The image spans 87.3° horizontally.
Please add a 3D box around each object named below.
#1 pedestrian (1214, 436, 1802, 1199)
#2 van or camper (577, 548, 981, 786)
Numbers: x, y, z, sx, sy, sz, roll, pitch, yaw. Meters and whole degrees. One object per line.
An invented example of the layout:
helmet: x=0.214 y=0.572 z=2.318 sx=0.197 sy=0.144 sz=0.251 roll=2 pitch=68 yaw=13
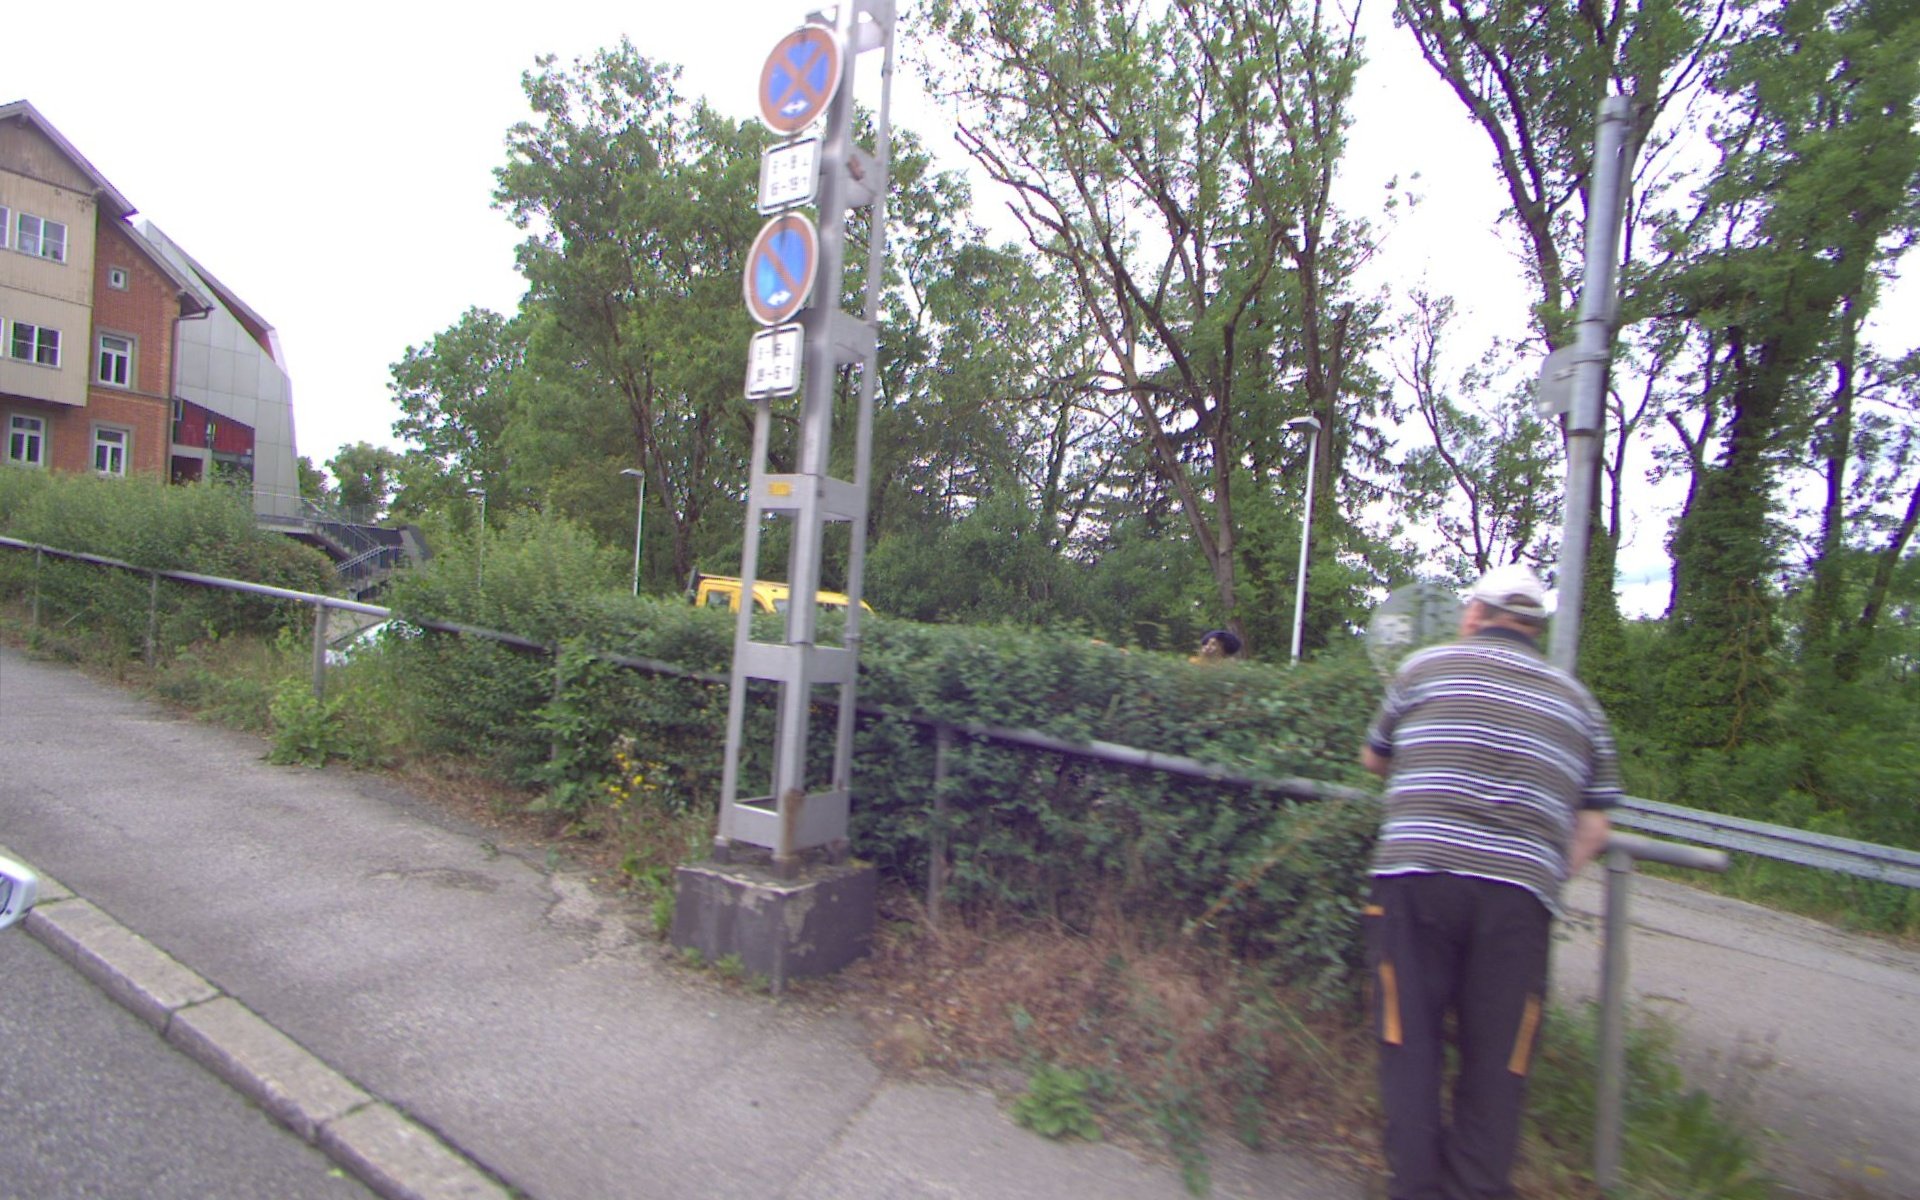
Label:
pedestrian: x=1.330 y=0.618 z=2.518 sx=0.934 sy=1.909 sz=0.811 roll=7 pitch=3 yaw=36
van or camper: x=-2.809 y=0.719 z=14.210 sx=6.093 sy=2.360 sz=2.211 roll=7 pitch=2 yaw=42
